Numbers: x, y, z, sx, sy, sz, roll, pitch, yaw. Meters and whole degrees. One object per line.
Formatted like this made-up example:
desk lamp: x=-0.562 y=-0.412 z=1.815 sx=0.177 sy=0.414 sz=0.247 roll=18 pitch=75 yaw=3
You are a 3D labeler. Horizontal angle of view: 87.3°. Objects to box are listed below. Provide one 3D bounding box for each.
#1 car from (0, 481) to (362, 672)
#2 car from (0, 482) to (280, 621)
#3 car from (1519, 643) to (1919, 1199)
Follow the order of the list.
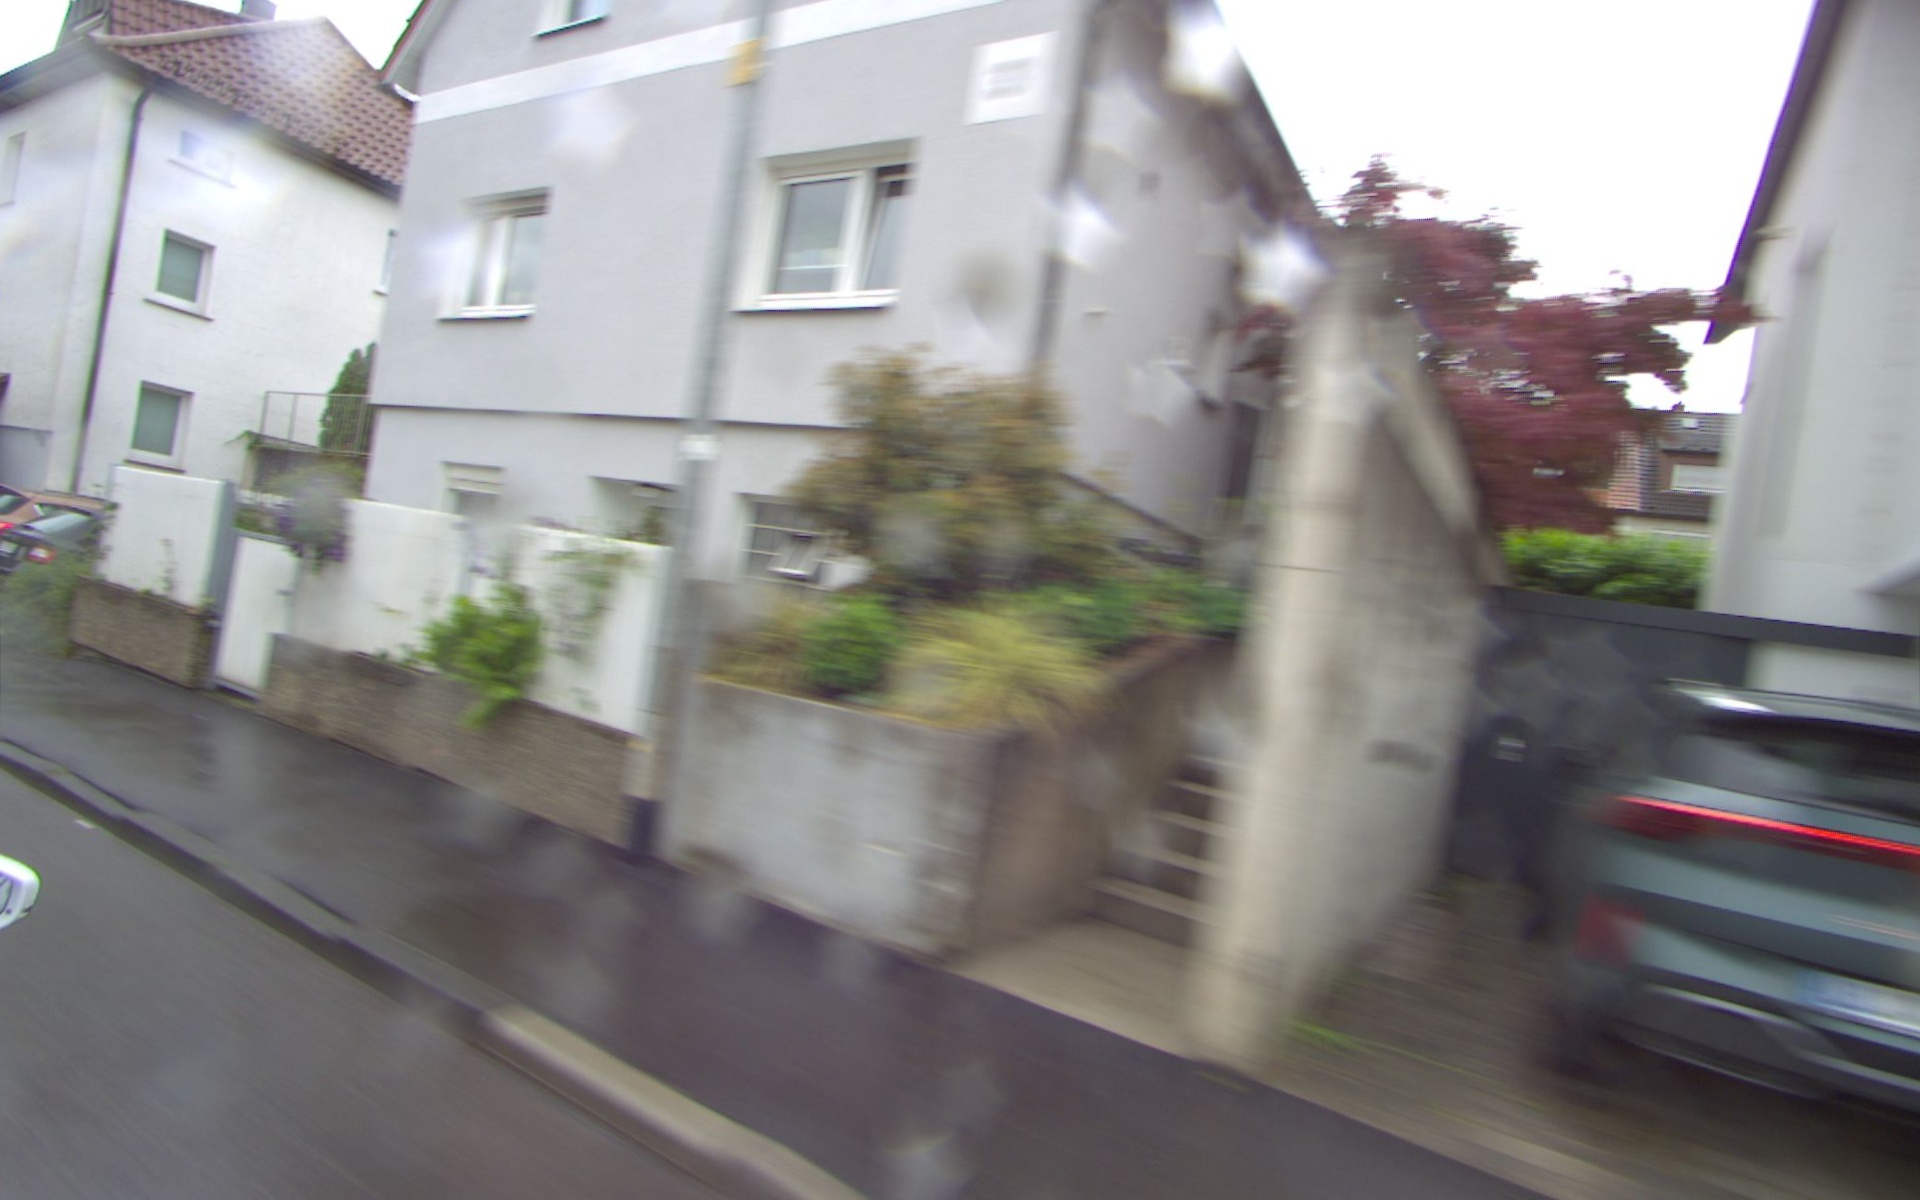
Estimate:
car: x=-9.719 y=-0.206 z=12.469 sx=1.554 sy=1.494 sz=3.462 roll=8 pitch=-8 yaw=32
car: x=-11.875 y=-0.664 z=14.081 sx=1.554 sy=1.528 sz=3.482 roll=8 pitch=-1 yaw=32
car: x=3.542 y=1.152 z=4.343 sx=1.788 sy=1.602 sz=3.594 roll=7 pitch=-1 yaw=29
